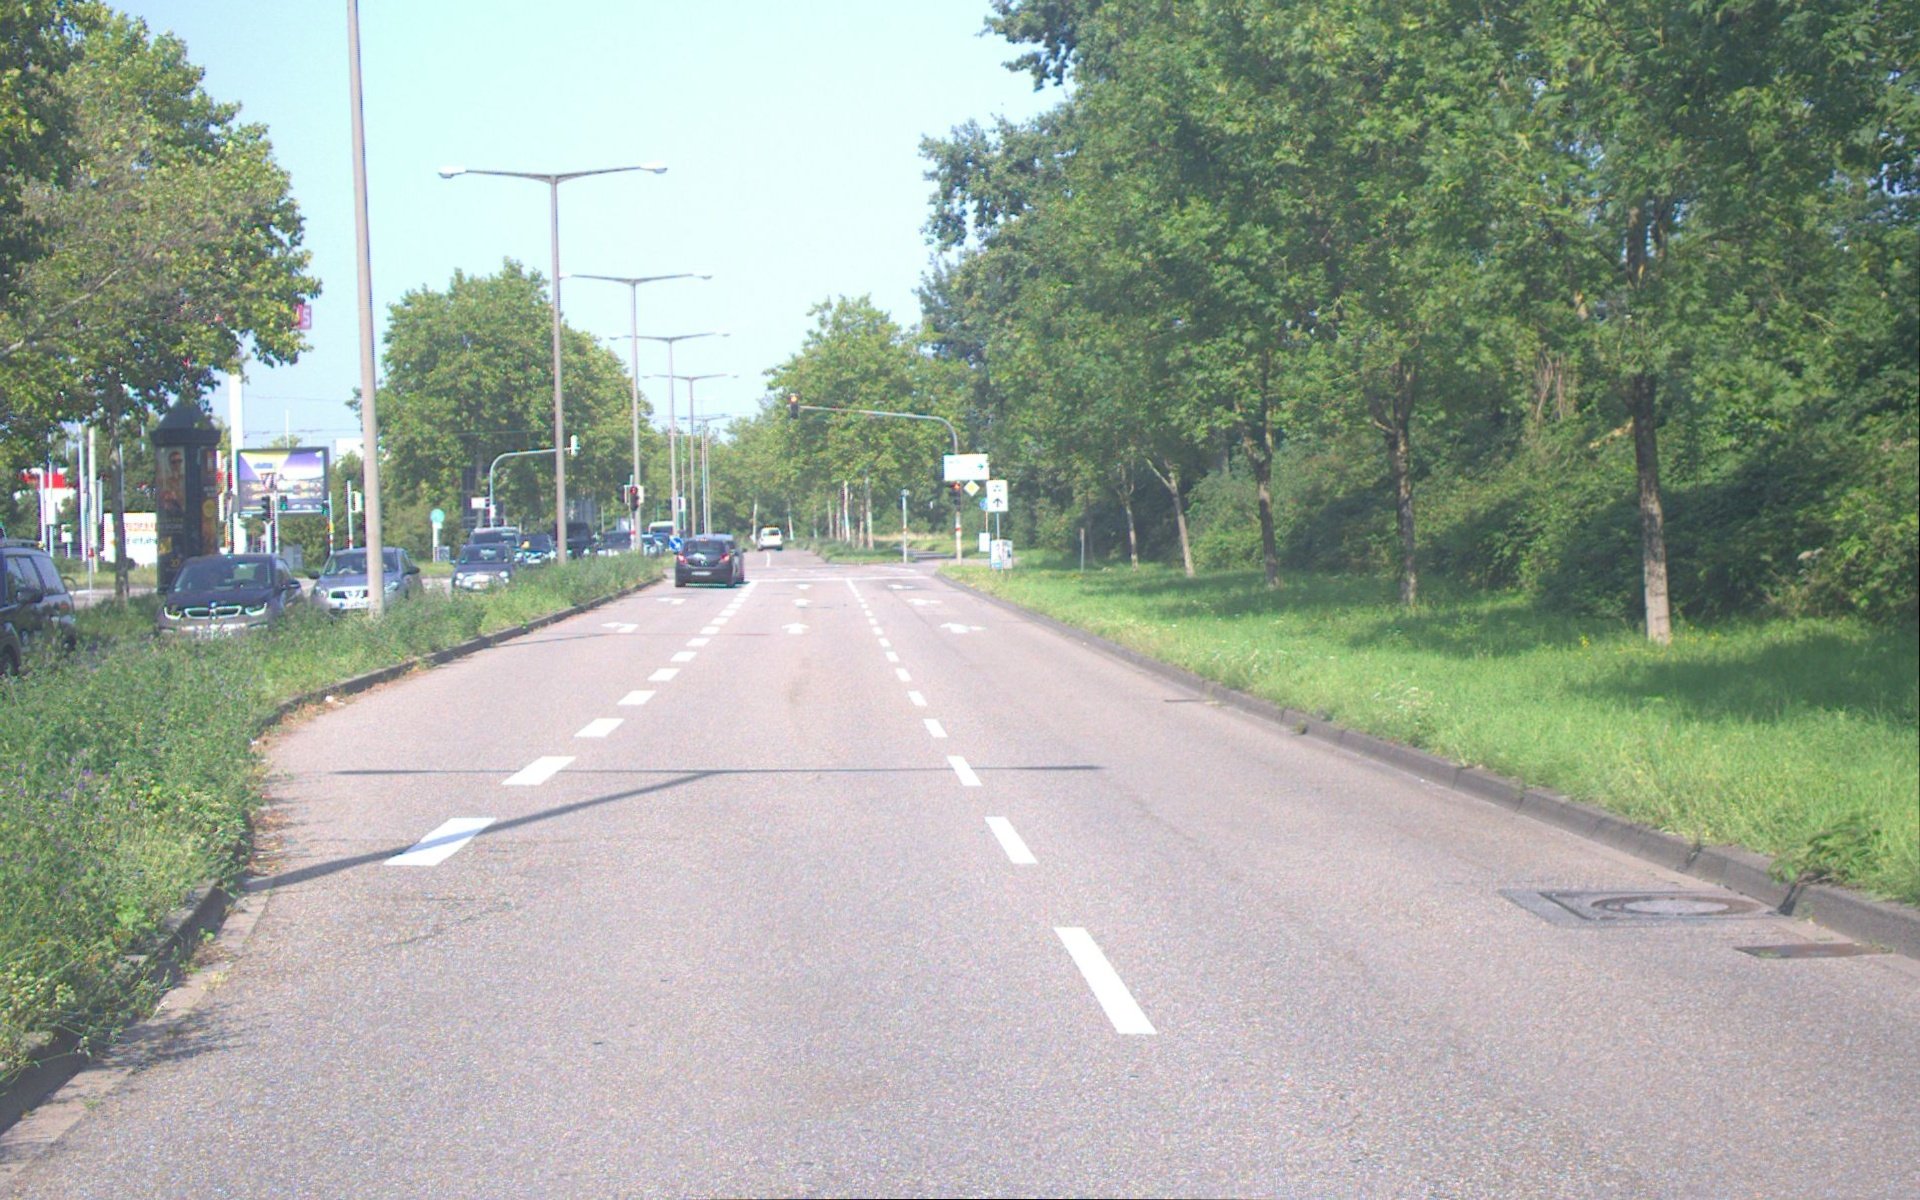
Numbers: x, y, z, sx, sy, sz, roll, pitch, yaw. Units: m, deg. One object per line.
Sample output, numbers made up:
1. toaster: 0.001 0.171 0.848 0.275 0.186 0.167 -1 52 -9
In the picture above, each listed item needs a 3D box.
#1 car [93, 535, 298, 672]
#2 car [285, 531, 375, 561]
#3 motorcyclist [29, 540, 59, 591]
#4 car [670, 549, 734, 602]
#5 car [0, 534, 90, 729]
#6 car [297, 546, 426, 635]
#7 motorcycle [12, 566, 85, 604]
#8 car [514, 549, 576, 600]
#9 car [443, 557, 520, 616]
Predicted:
1. car: -10.726 0.016 48.534 1.993 1.753 4.308 -3 1 -2
2. car: -26.406 -2.277 144.177 3.375 1.133 1.493 -2 1 6
3. motorcyclist: -28.325 -1.070 106.332 0.682 1.566 0.683 -1 1 -38
4. car: -7.573 -0.736 101.152 1.692 1.481 4.001 -2 1 -2
5. car: -9.745 0.314 32.464 1.993 1.753 4.478 -3 1 -2
6. car: -11.363 -0.211 65.485 1.879 1.588 4.109 -2 1 -3
7. motorcycle: -28.217 -0.467 106.426 2.070 1.132 0.677 -1 1 -38
8. car: -16.350 -1.025 135.647 1.994 1.700 4.505 -9 1 -4
9. car: -12.333 -0.358 88.836 1.676 1.481 3.493 0 1 -3
